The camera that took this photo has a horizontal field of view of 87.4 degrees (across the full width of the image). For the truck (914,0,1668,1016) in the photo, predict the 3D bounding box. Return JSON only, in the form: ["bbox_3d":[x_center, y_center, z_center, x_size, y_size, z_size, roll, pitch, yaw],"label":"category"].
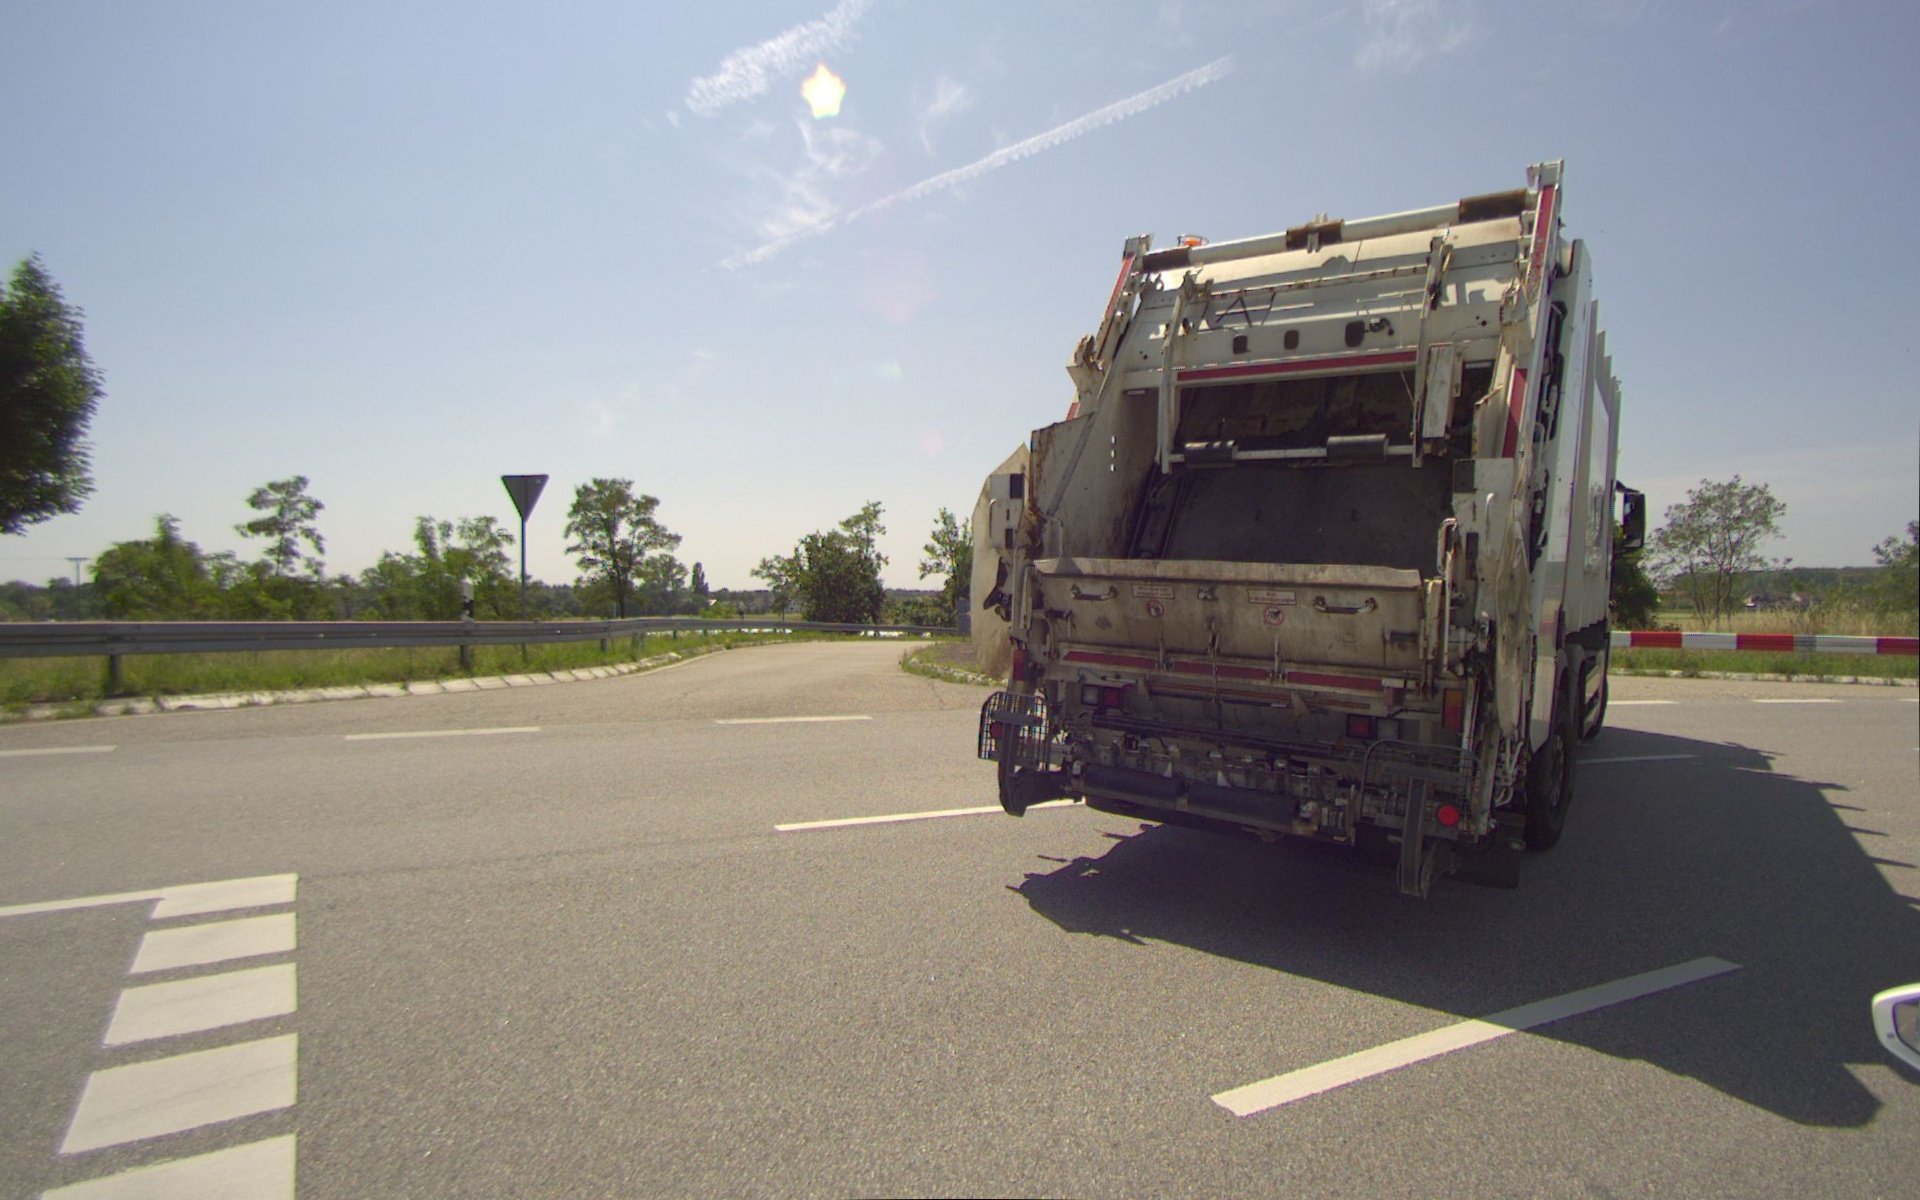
[{"bbox_3d":[3.875,-0.477,8.265,2.777,3.719,9.909,3,2,37],"label":"truck"}]
